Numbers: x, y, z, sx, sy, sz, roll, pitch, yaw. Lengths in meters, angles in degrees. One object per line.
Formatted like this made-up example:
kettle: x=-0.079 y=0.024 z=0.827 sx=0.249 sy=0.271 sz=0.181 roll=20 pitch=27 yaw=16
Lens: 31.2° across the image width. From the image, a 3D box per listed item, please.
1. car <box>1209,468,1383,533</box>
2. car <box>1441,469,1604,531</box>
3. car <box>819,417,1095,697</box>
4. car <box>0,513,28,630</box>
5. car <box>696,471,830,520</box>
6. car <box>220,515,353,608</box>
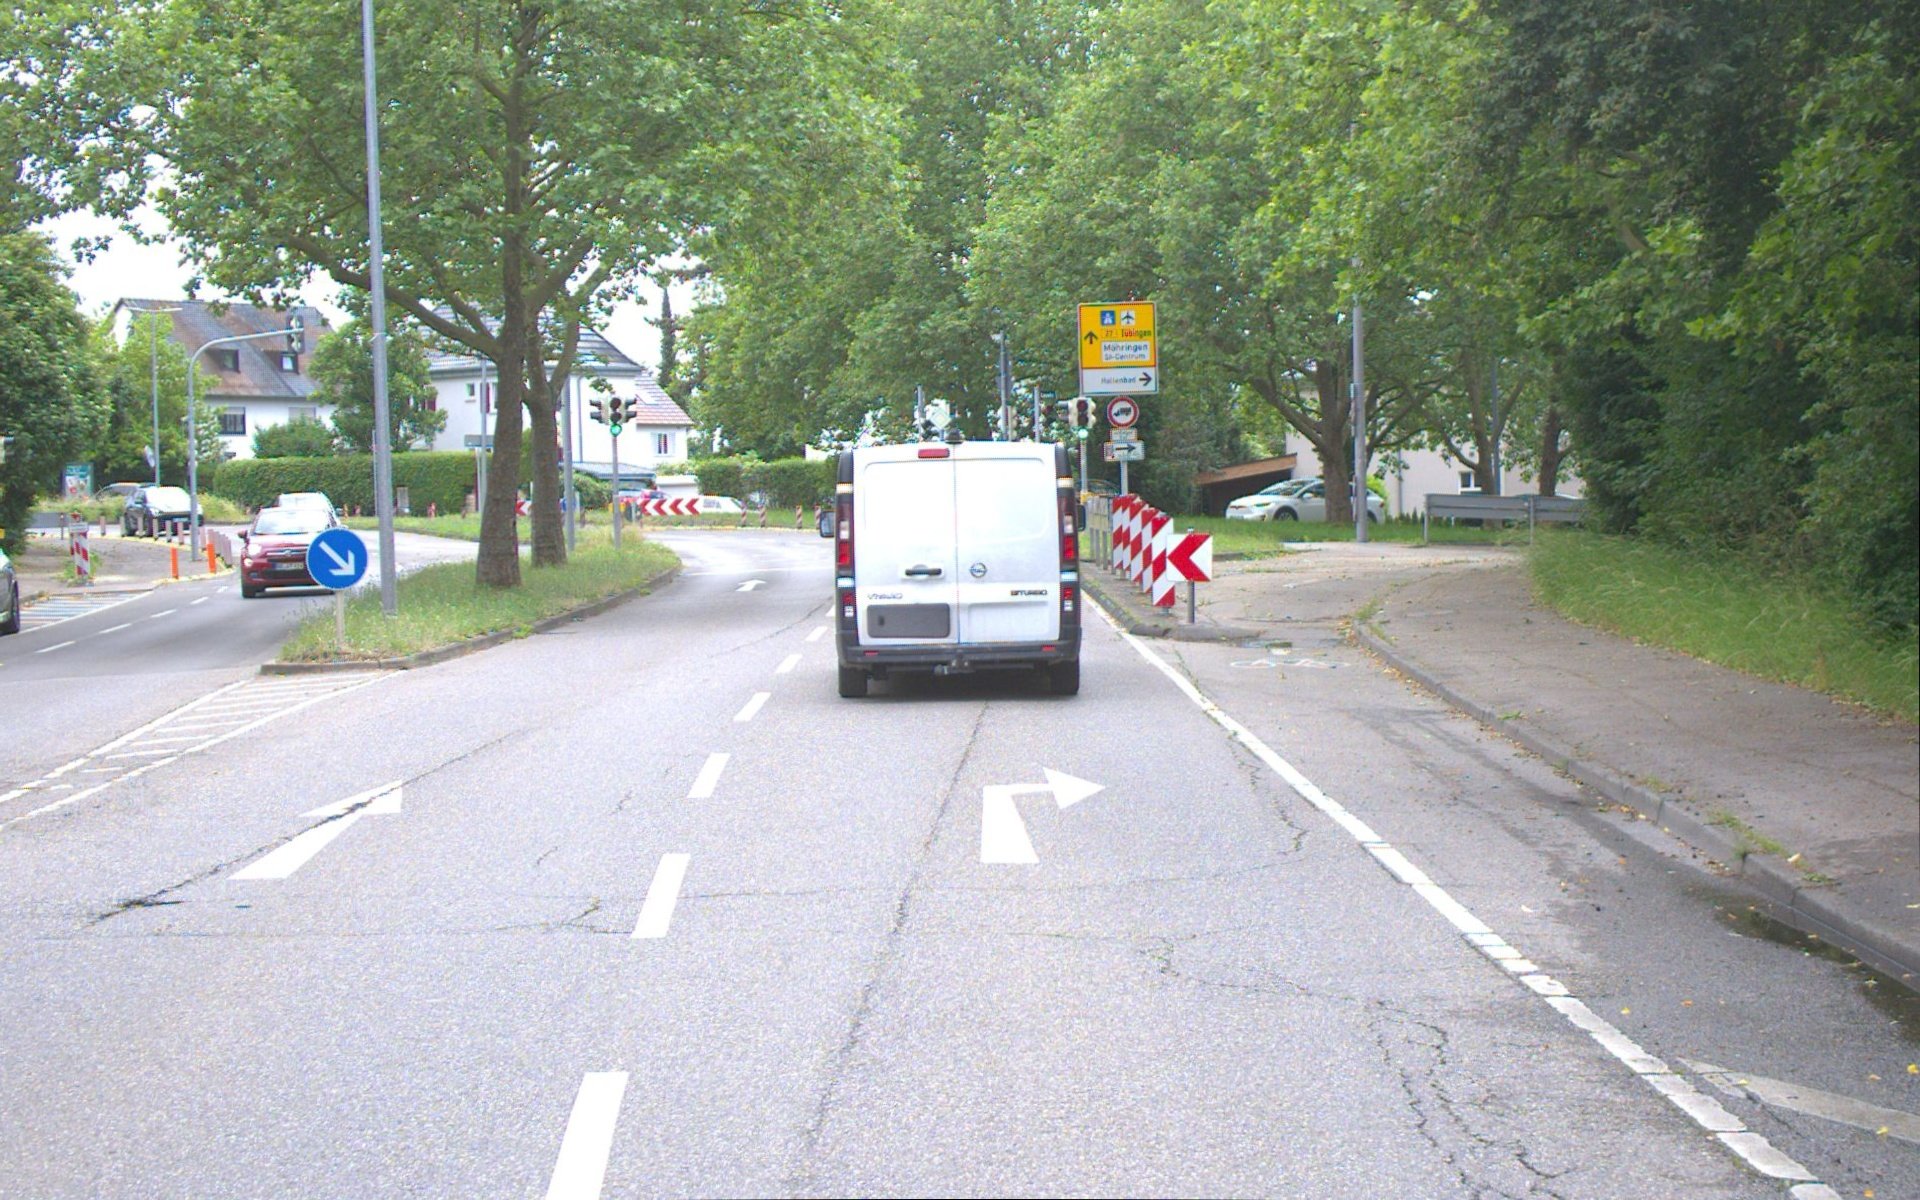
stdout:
car: x=9.535 y=-2.818 z=97.281 sx=4.730 sy=1.763 sz=2.000 roll=-2 pitch=2 yaw=-35
car: x=16.797 y=-2.987 z=102.529 sx=4.730 sy=1.763 sz=2.000 roll=-2 pitch=2 yaw=-35
car: x=-0.123 y=-0.357 z=27.809 sx=2.006 sy=2.031 sz=5.011 roll=1 pitch=1 yaw=-2
car: x=-14.376 y=-0.384 z=48.308 sx=1.887 sy=1.619 sz=4.432 roll=-2 pitch=1 yaw=-8
car: x=-7.402 y=-3.927 z=128.876 sx=4.738 sy=1.763 sz=1.996 roll=1 pitch=2 yaw=33
car: x=-12.296 y=-0.729 z=62.994 sx=1.997 sy=1.582 sz=3.998 roll=-2 pitch=1 yaw=-6
